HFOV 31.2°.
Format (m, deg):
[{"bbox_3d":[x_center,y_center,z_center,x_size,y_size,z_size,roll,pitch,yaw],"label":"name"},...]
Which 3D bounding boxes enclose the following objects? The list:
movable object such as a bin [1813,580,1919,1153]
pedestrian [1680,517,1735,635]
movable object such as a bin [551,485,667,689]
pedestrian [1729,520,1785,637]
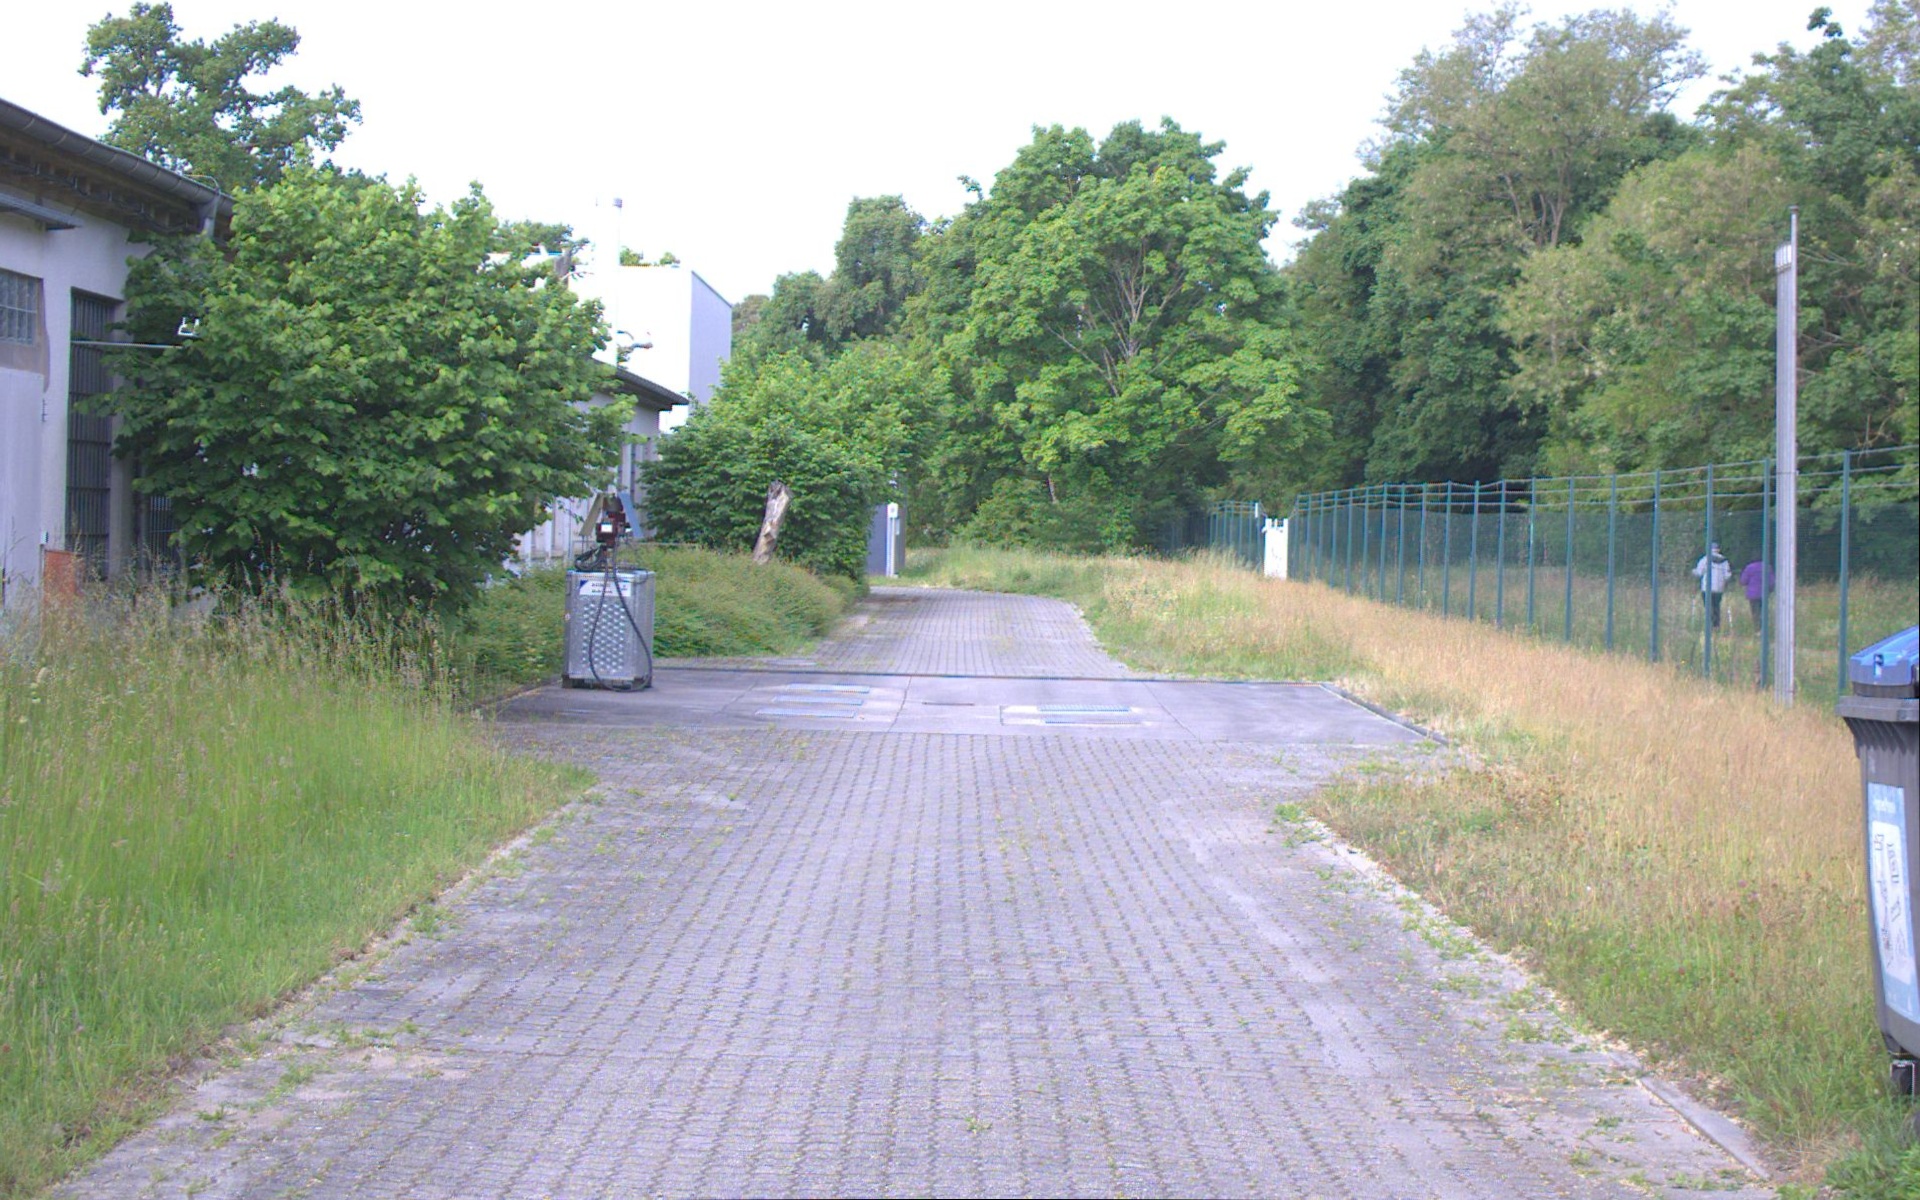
[{"bbox_3d":[2.865,0.641,8.738,1.123,1.346,1.425,2,0,6],"label":"movable object such as a bin"},{"bbox_3d":[12.931,-0.418,59.501,0.759,2.007,0.664,1,1,-1],"label":"pedestrian"},{"bbox_3d":[-3.464,-0.139,33.982,0.935,1.975,0.853,1,1,9],"label":"movable object such as a bin"},{"bbox_3d":[13.737,-0.374,59.283,0.759,2.007,0.664,1,1,-1],"label":"pedestrian"}]
